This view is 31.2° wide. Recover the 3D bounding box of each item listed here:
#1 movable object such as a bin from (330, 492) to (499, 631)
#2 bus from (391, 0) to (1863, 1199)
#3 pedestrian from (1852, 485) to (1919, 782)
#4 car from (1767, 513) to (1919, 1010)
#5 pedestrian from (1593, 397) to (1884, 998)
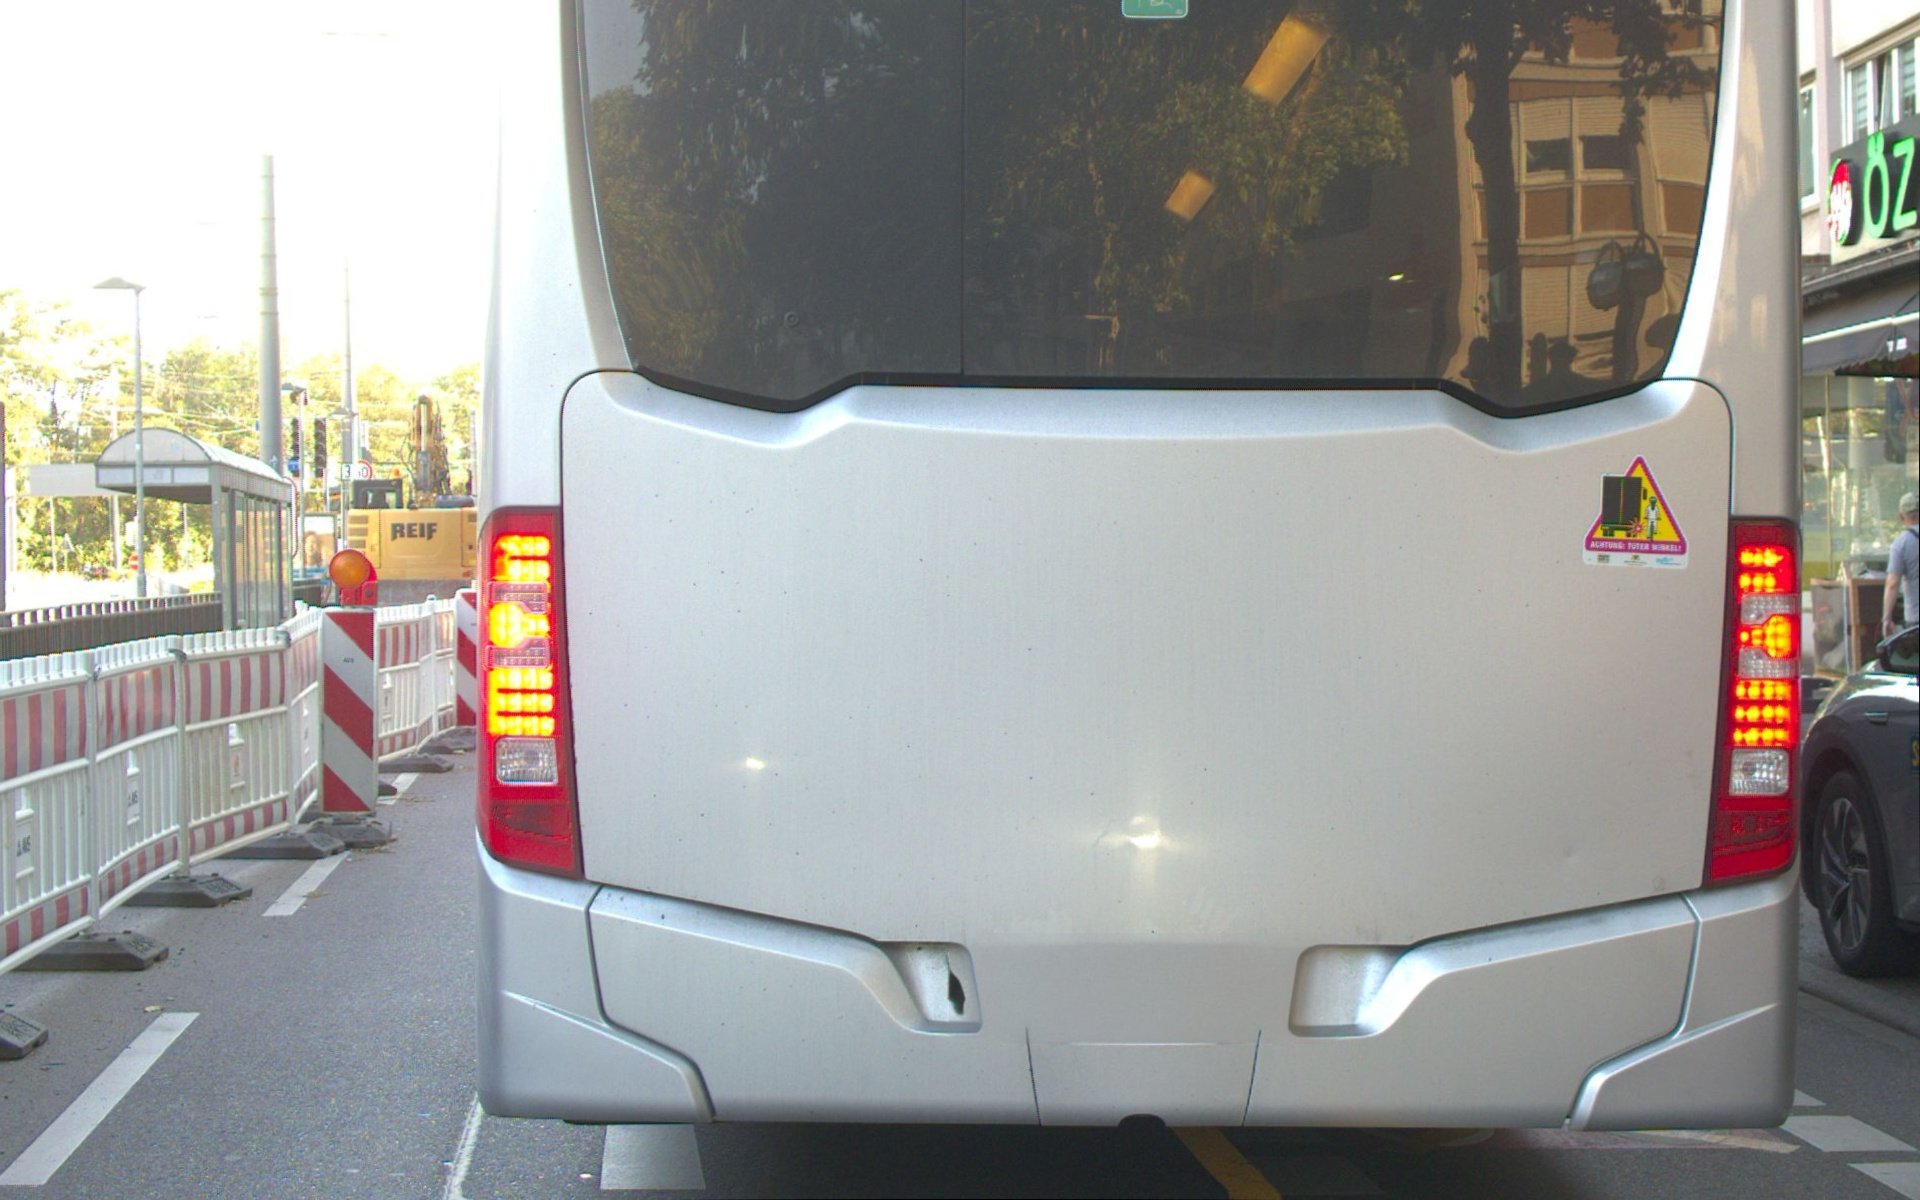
[{"bbox_3d":[-10.052,-0.722,63.669,2.806,2.453,4.001,-1,1,-5],"label":"movable object such as a bin"},{"bbox_3d":[0.271,-0.285,11.247,2.608,3.159,10.292,0,1,0],"label":"bus"},{"bbox_3d":[6.587,0.222,23.643,0.691,2.007,0.696,-1,0,0],"label":"pedestrian"},{"bbox_3d":[4.000,0.493,10.304,1.739,1.592,4.300,-3,1,-5],"label":"car"},{"bbox_3d":[2.704,0.326,12.004,0.769,2.007,0.714,-2,0,-1],"label":"pedestrian"}]
